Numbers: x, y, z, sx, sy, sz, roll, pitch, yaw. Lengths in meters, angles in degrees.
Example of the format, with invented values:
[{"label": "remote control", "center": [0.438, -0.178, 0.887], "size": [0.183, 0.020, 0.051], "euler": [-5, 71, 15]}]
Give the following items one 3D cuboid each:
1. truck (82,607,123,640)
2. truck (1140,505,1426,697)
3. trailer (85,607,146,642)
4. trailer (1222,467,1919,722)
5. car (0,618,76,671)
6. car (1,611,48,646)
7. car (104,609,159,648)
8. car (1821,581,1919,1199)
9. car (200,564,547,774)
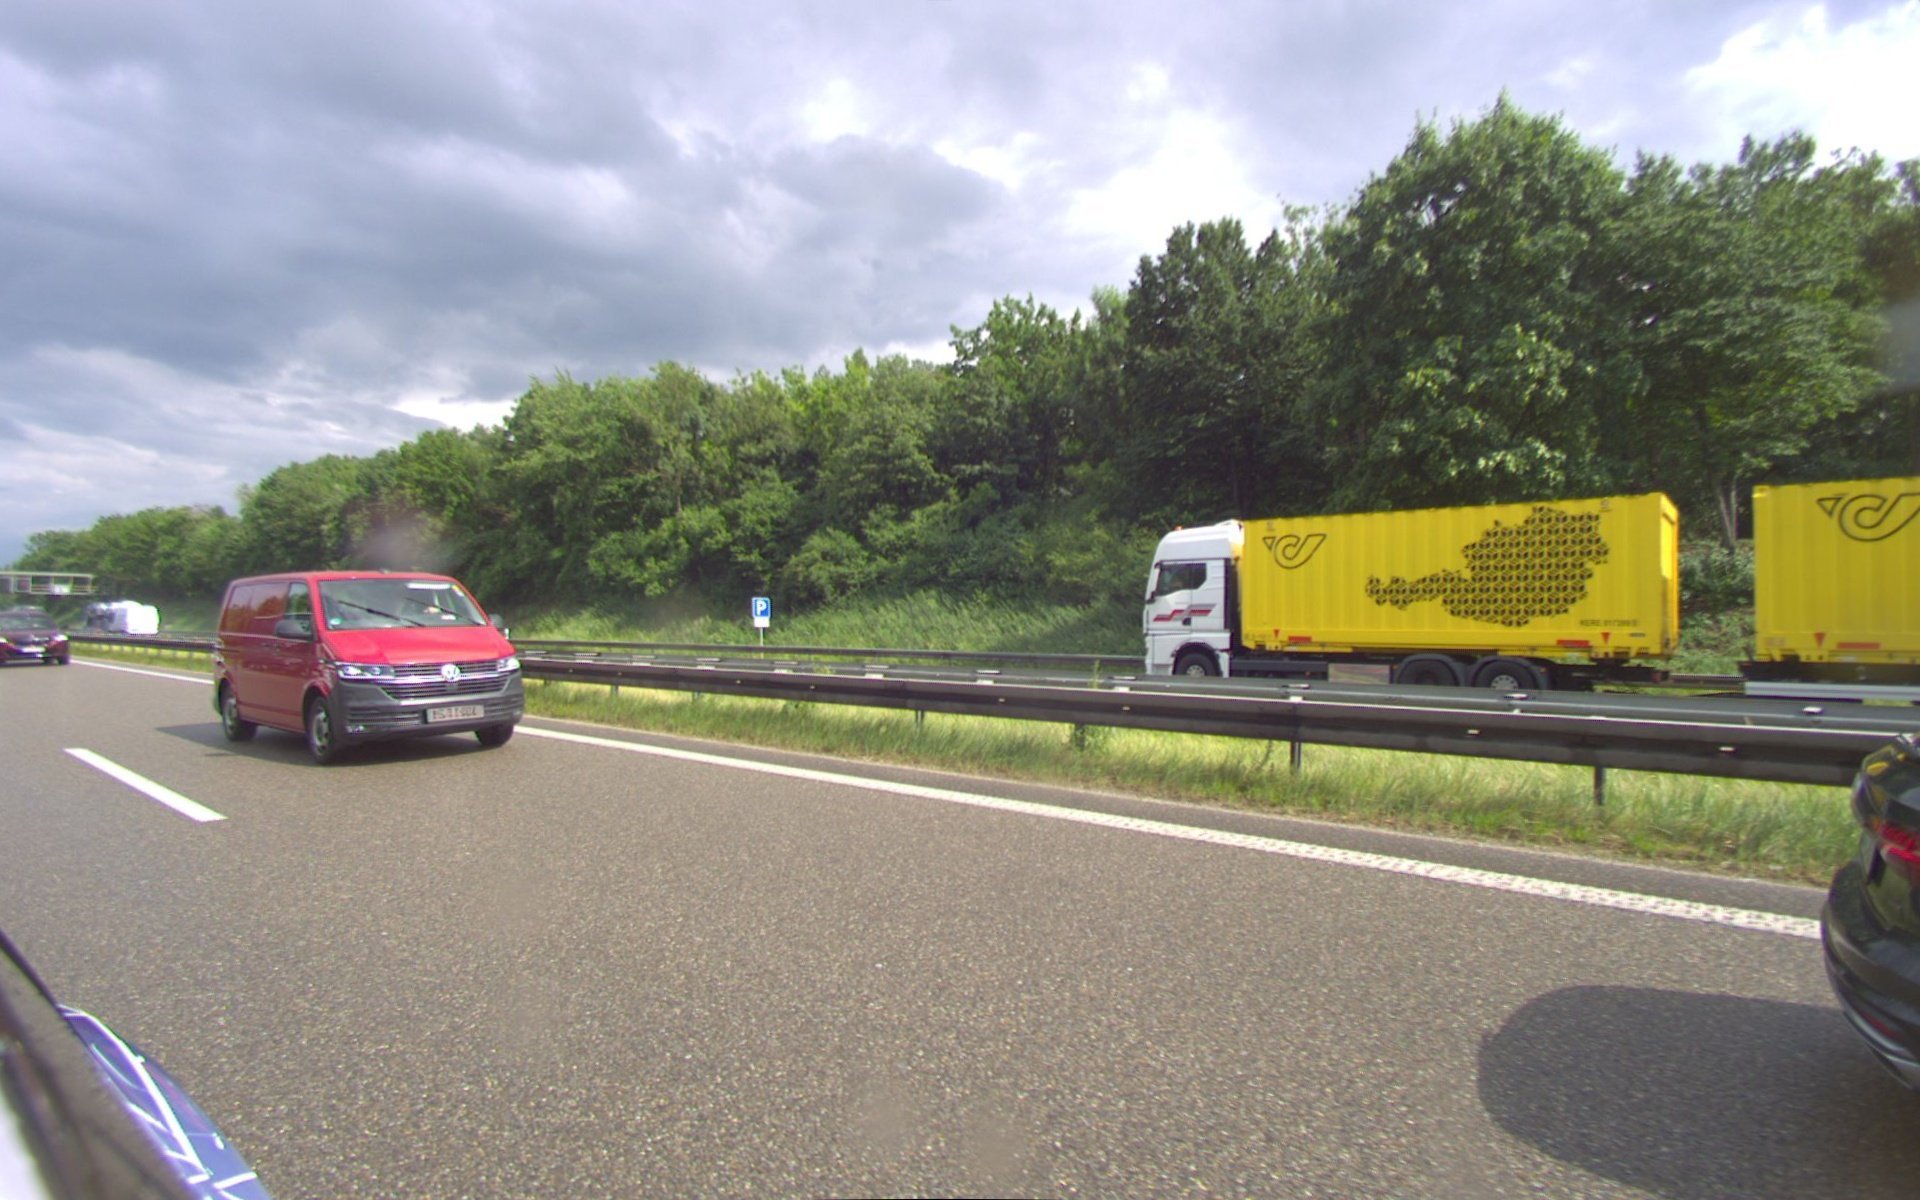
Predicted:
[{"label": "truck", "center": [-105.469, 2.899, 124.417], "size": [6.862, 3.860, 2.958], "euler": [-1, 0, 42]}, {"label": "truck", "center": [6.993, 0.029, 22.214], "size": [5.327, 3.692, 2.695], "euler": [-1, 0, 40]}, {"label": "trailer", "center": [-99.196, 2.804, 118.690], "size": [17.948, 3.860, 2.958], "euler": [-1, 0, 42]}, {"label": "trailer", "center": [12.812, -0.061, 17.227], "size": [16.664, 3.672, 2.695], "euler": [-1, 0, 40]}, {"label": "car", "center": [-29.052, 1.322, 31.253], "size": [4.836, 1.508, 1.983], "euler": [-1, 0, 41]}, {"label": "car", "center": [-81.387, 2.411, 88.021], "size": [6.886, 2.892, 2.239], "euler": [-1, 0, 41]}, {"label": "car", "center": [-64.930, 2.225, 79.263], "size": [6.785, 2.892, 2.239], "euler": [-1, 0, 41]}, {"label": "car", "center": [4.345, 0.639, 1.351], "size": [4.836, 1.429, 1.776], "euler": [-1, 0, 41]}, {"label": "car", "center": [-6.742, 0.634, 11.377], "size": [4.836, 1.880, 1.902], "euler": [-1, 0, 41]}]
